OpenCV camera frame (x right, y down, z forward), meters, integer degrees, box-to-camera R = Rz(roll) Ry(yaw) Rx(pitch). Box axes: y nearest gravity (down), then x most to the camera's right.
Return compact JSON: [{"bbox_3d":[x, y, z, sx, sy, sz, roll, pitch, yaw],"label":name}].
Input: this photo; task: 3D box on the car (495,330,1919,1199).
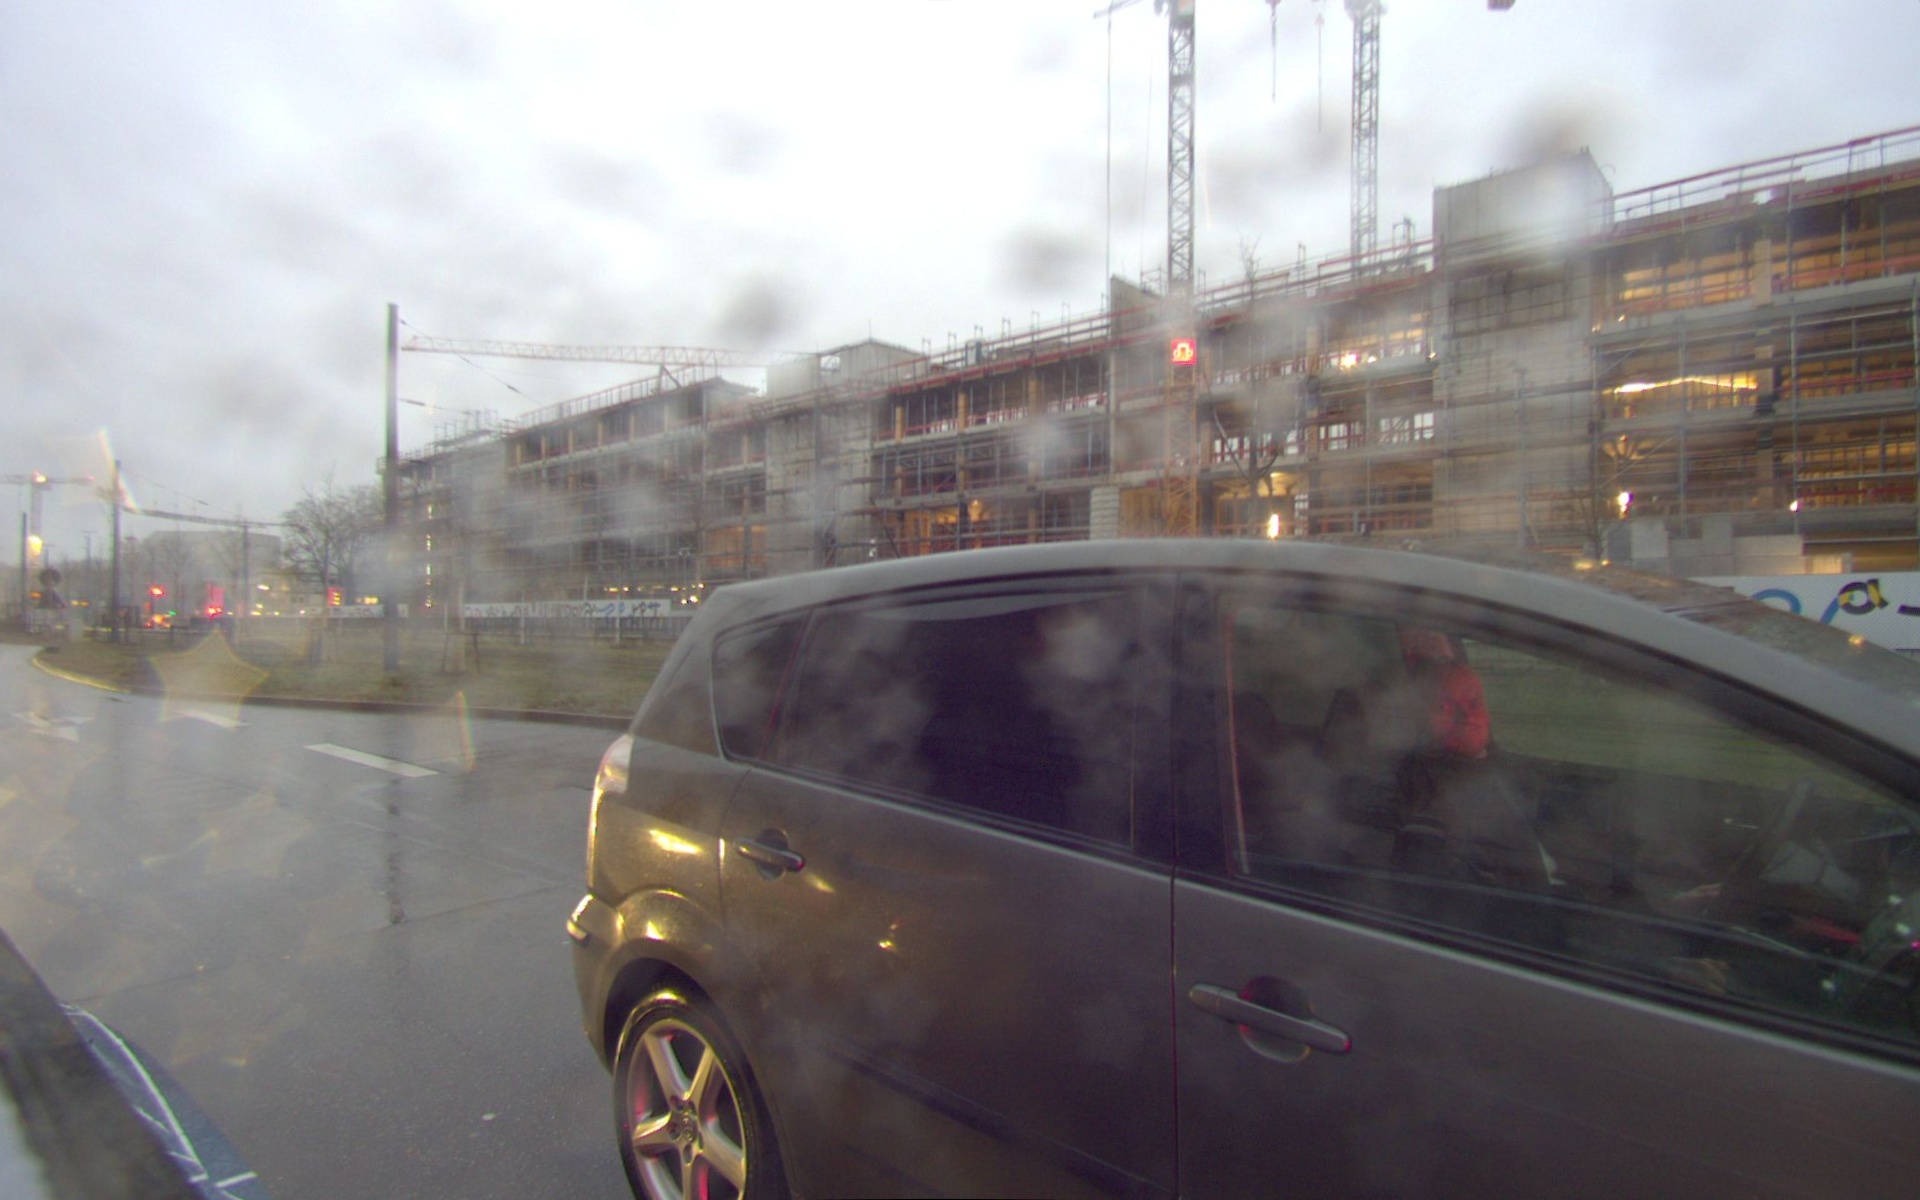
[{"bbox_3d":[1.005,0.606,1.890,4.131,1.659,1.793,-1,-1,39],"label":"car"}]
